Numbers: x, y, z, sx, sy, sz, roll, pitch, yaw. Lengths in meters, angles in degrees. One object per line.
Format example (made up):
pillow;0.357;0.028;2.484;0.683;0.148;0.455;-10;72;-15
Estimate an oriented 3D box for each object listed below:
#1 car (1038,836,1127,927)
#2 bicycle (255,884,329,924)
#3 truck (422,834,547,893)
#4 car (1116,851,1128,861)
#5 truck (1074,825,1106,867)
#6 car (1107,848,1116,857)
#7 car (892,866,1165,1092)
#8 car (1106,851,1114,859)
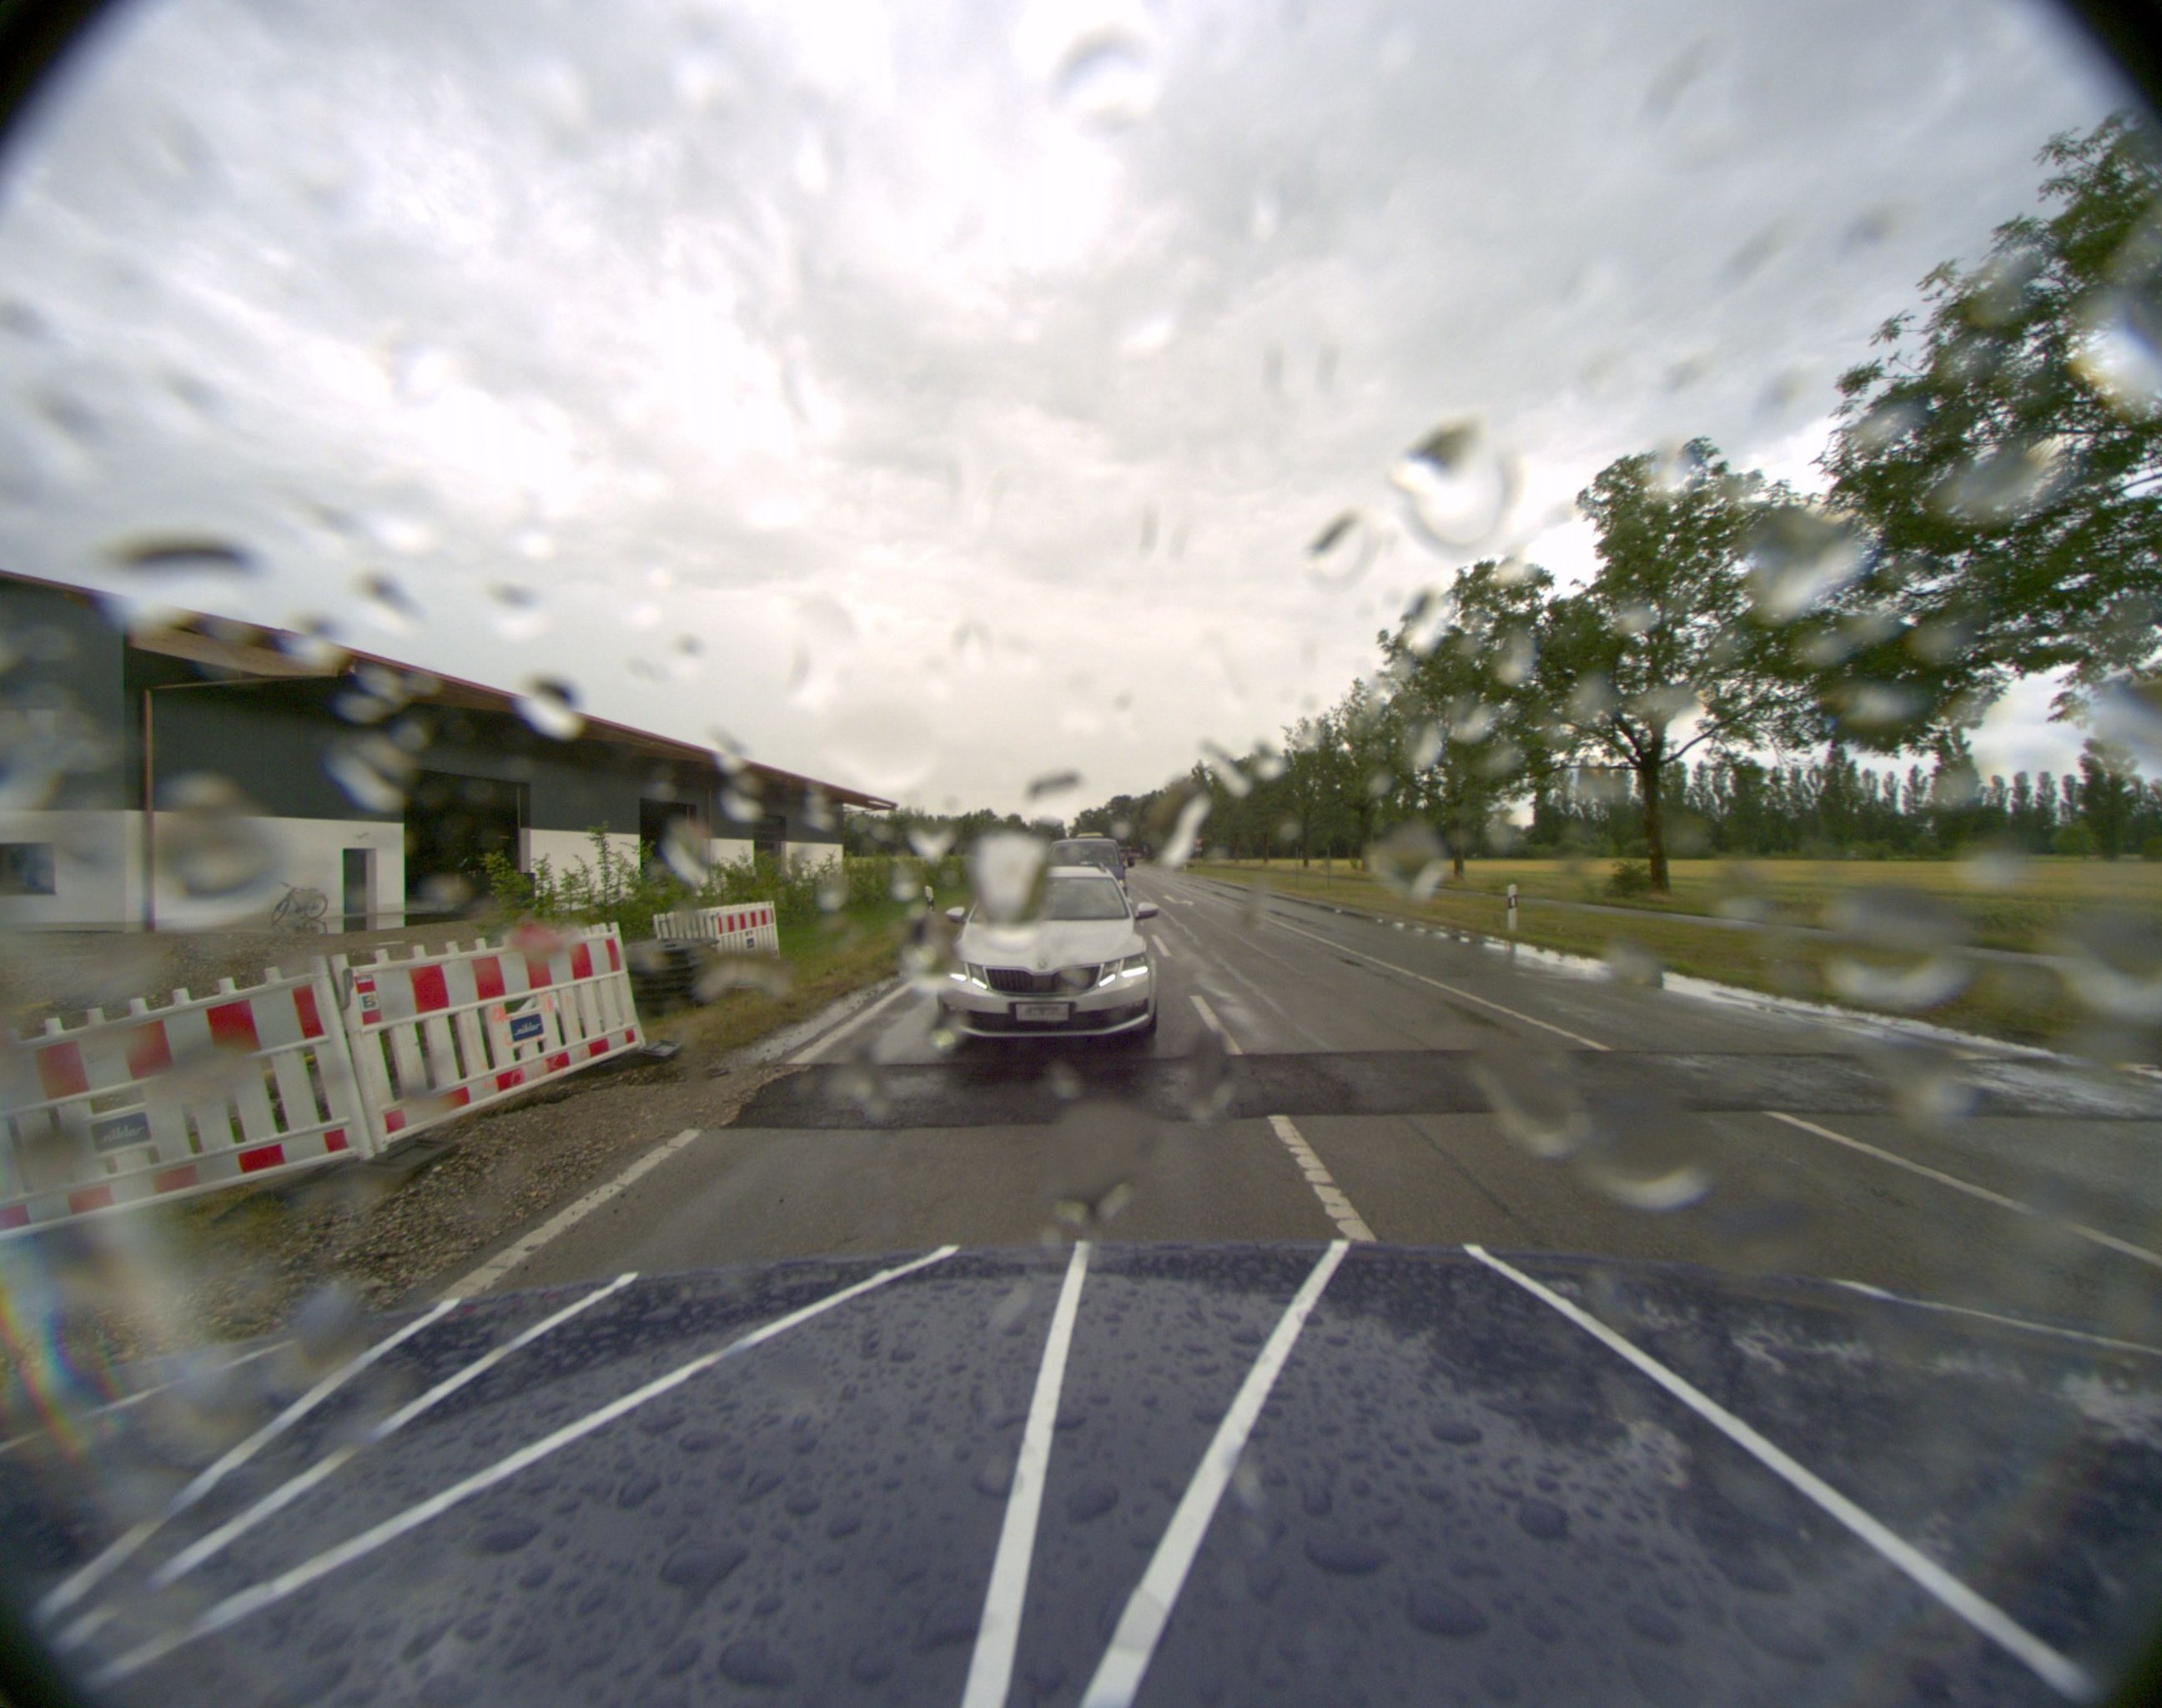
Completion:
car;0.056;0.569;18.250;1.892;1.939;4.000;0;1;1
bicycle;-23.111;1.443;22.306;0.391;1.066;1.661;0;1;1
truck;-32.298;0.452;41.442;2.496;2.996;5.343;0;1;1
car;6.647;0.316;123.352;1.724;1.396;4.043;1;1;0
truck;0.912;-0.798;77.883;2.931;3.829;14.119;0;0;1
car;6.843;-0.329;169.680;1.921;1.851;4.684;1;1;0
car;-0.331;0.907;7.567;1.843;1.379;4.569;-2;1;1
car;6.052;0.210;159.719;1.708;1.661;4.156;1;1;2
